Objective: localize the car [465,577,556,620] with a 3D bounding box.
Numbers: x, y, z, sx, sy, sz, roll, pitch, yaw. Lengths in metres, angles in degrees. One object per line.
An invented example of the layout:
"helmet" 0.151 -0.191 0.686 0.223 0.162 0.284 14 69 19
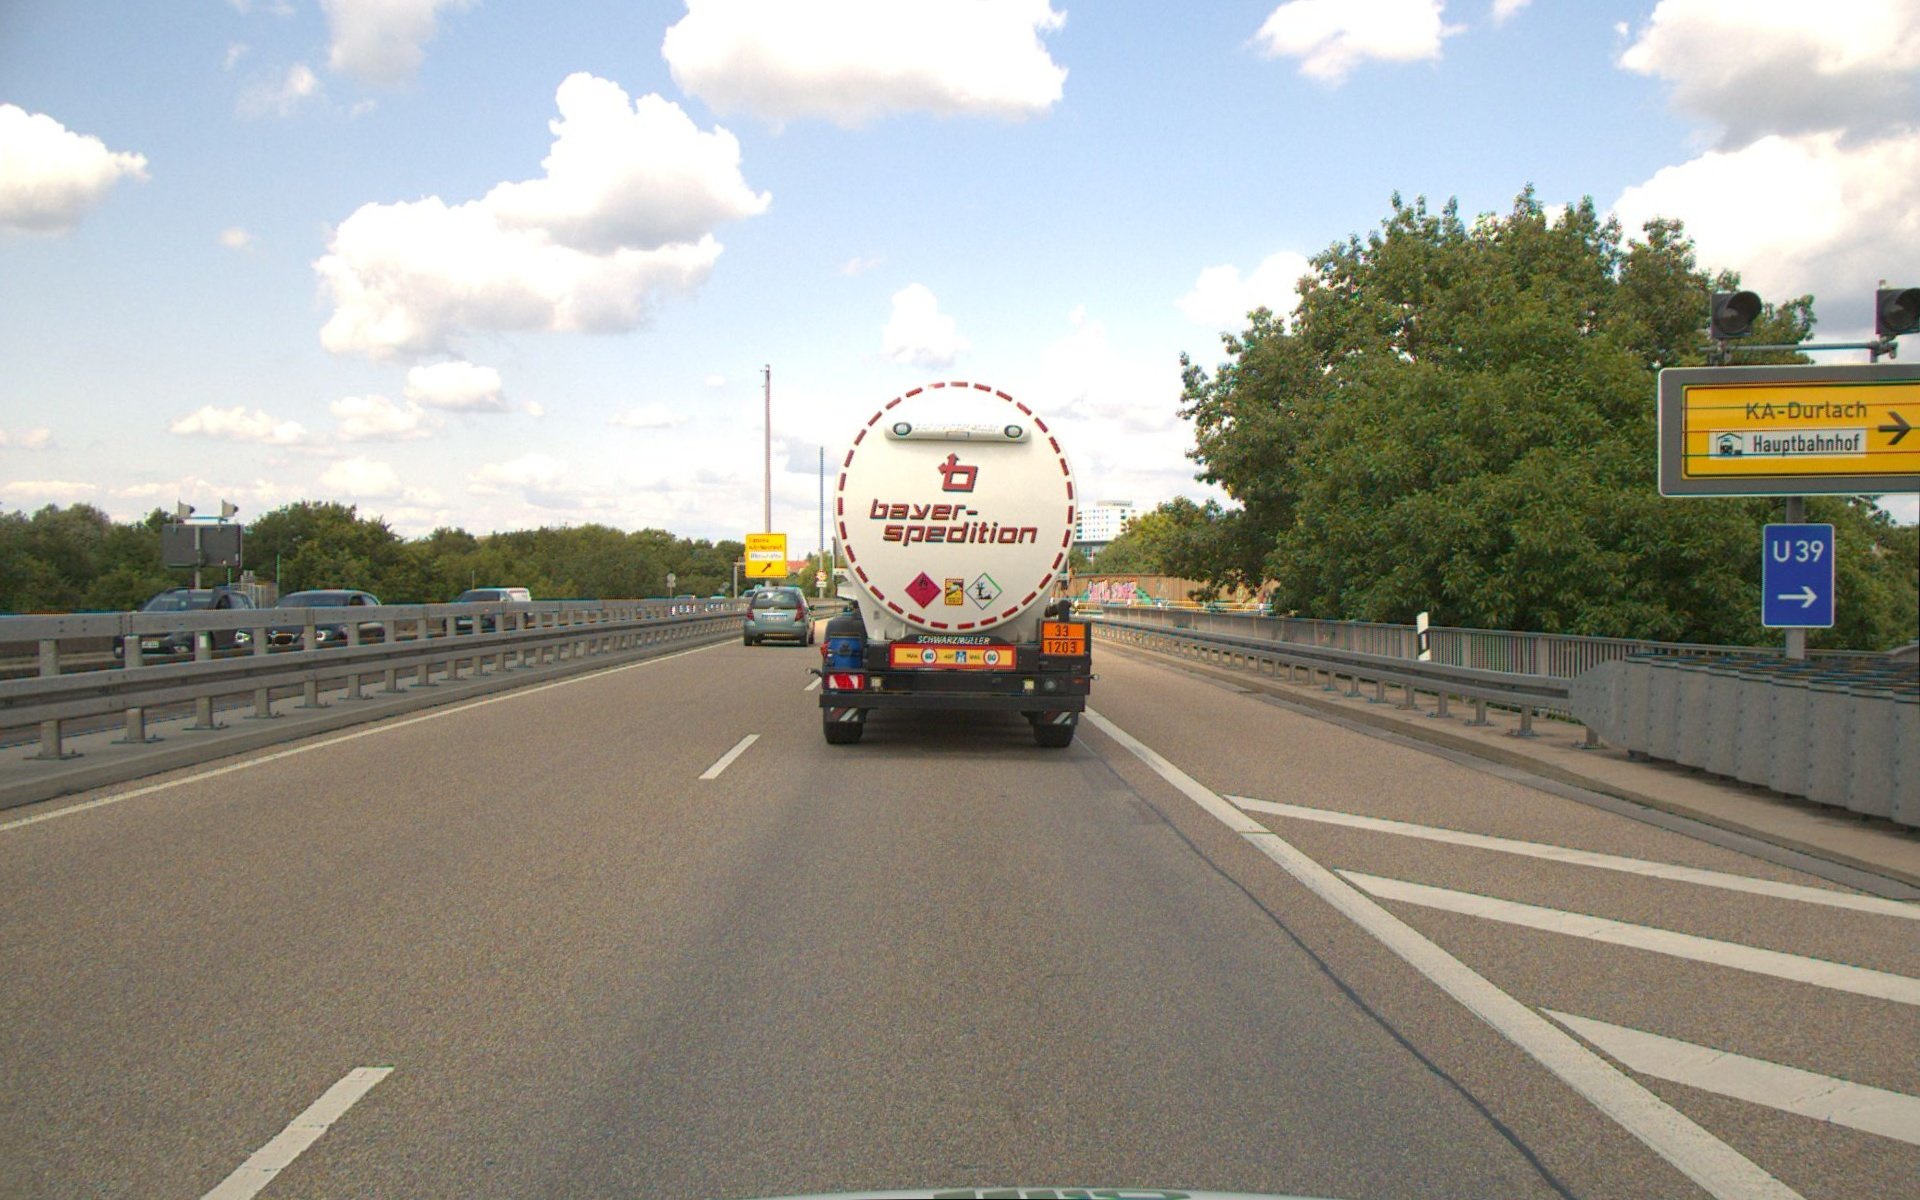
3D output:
"car" -21.253 -0.059 78.419 1.951 1.931 5.172 2 0 13

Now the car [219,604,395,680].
"car" -11.610 0.710 29.667 1.647 1.206 3.998 2 0 -2

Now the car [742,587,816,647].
"car" -4.953 0.435 45.737 1.712 1.558 3.999 1 0 -2

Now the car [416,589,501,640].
"car" -17.746 0.493 58.767 1.853 1.668 4.509 2 0 -4

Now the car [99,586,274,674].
"car" -15.810 0.577 34.049 1.785 1.667 3.998 2 0 -2

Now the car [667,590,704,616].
"car" -18.342 0.197 110.729 1.792 1.609 3.953 2 0 0

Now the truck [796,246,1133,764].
"truck" -0.103 -0.827 18.484 2.837 4.445 8.026 2 0 -2

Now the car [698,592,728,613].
"car" -19.096 0.208 128.082 1.864 1.555 4.240 2 0 -4
